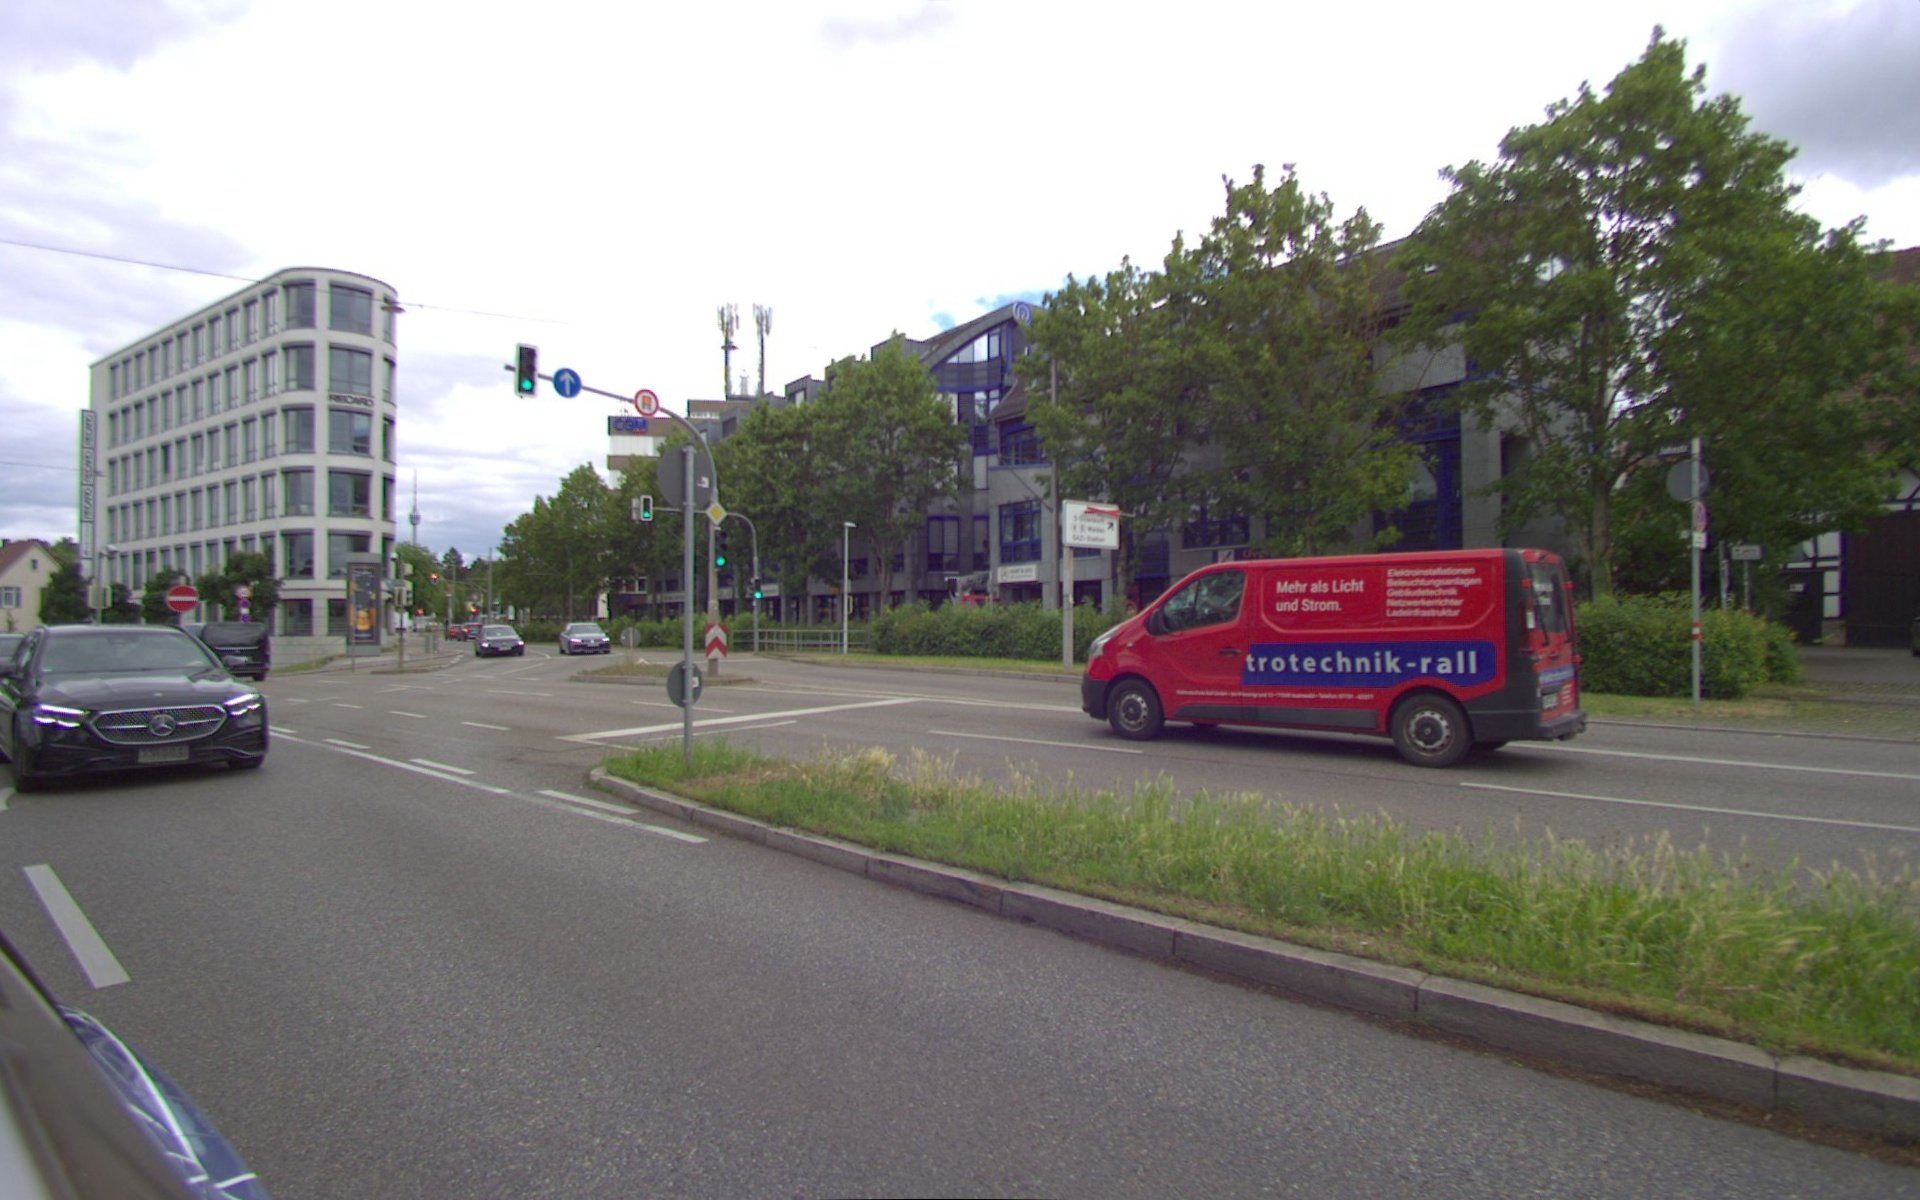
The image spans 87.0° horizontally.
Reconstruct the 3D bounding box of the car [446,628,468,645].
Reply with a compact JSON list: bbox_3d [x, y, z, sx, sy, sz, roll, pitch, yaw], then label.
[{"bbox_3d":[-48.533,3.480,97.596,1.689,1.474,4.454,-3,0,-29],"label":"car"}]

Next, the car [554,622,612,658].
[{"bbox_3d":[-17.446,1.839,46.712,1.751,1.474,4.454,-3,-1,-29],"label":"car"}]

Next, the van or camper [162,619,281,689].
[{"bbox_3d":[-23.007,1.641,31.444,5.246,1.952,1.906,-3,-1,42],"label":"van or camper"}]

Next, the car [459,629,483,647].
[{"bbox_3d":[-44.122,3.377,91.277,1.689,1.474,4.454,-3,0,-29],"label":"car"}]

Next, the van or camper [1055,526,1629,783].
[{"bbox_3d":[3.668,0.500,10.528,5.197,2.029,1.972,-2,-1,43],"label":"van or camper"}]

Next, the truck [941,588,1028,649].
[{"bbox_3d":[1.017,0.871,44.952,1.966,2.405,4.012,-3,-2,-29],"label":"truck"}]

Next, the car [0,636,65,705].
[{"bbox_3d":[-23.517,1.787,24.562,3.991,1.542,1.857,-6,-4,35],"label":"car"}]

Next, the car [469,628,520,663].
[{"bbox_3d":[-21.798,2.087,47.313,1.751,1.474,4.454,-3,0,-29],"label":"car"}]

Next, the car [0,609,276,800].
[{"bbox_3d":[-8.785,0.937,10.444,4.334,1.541,1.854,-3,-2,42],"label":"car"}]
